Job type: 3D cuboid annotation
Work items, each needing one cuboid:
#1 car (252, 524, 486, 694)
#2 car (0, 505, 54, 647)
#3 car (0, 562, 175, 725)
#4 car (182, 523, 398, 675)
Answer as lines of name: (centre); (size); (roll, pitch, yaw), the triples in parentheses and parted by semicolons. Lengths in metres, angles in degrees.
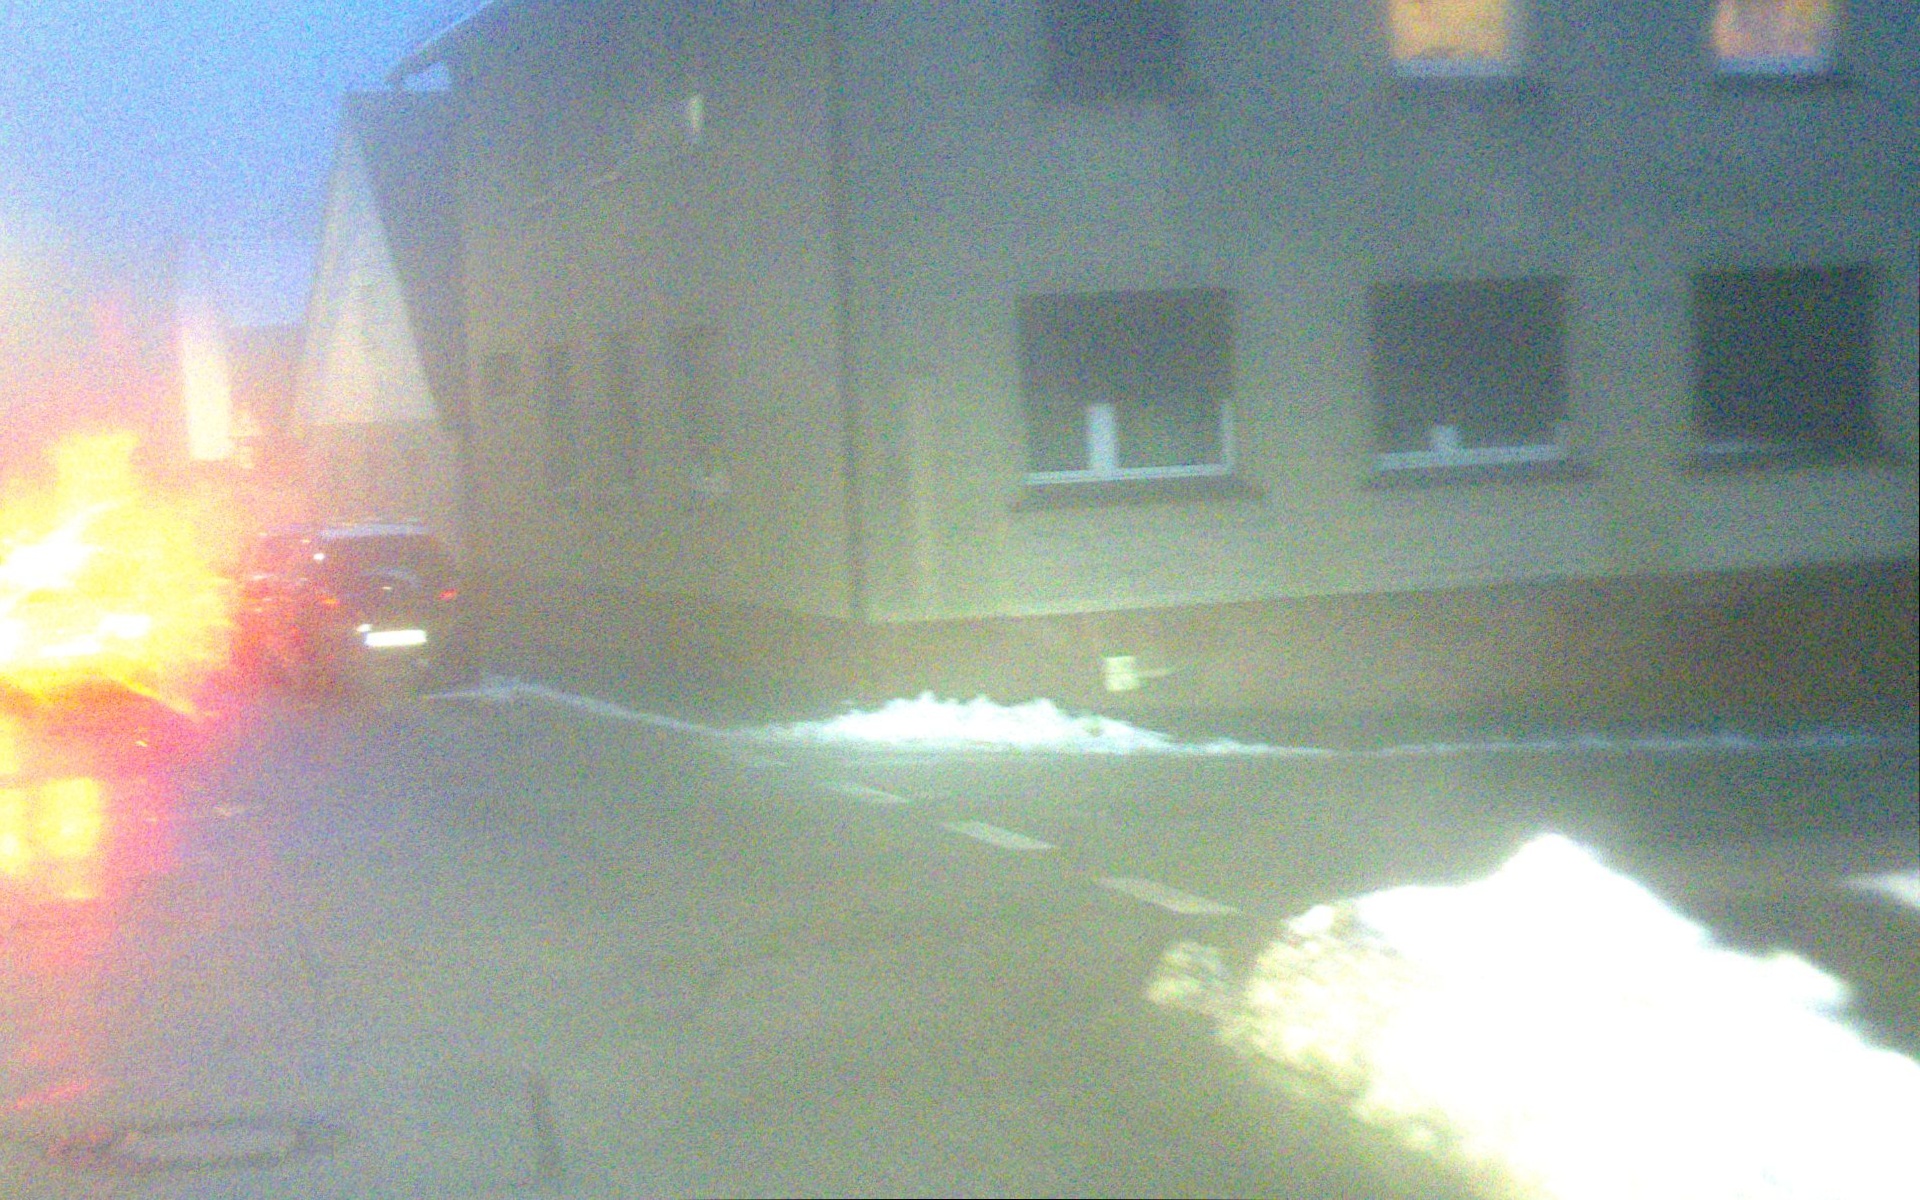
car: (-5.612, 0.076, 32.347); (1.716, 1.494, 3.908); (0, 0, -17)
car: (-12.545, -0.286, 43.342); (1.993, 1.722, 4.001); (0, 0, -17)
car: (-8.807, 0.407, 33.797); (1.993, 1.503, 4.001); (0, 0, -15)
car: (-7.356, -0.046, 37.459); (1.910, 1.476, 4.283); (-3, 2, -16)
